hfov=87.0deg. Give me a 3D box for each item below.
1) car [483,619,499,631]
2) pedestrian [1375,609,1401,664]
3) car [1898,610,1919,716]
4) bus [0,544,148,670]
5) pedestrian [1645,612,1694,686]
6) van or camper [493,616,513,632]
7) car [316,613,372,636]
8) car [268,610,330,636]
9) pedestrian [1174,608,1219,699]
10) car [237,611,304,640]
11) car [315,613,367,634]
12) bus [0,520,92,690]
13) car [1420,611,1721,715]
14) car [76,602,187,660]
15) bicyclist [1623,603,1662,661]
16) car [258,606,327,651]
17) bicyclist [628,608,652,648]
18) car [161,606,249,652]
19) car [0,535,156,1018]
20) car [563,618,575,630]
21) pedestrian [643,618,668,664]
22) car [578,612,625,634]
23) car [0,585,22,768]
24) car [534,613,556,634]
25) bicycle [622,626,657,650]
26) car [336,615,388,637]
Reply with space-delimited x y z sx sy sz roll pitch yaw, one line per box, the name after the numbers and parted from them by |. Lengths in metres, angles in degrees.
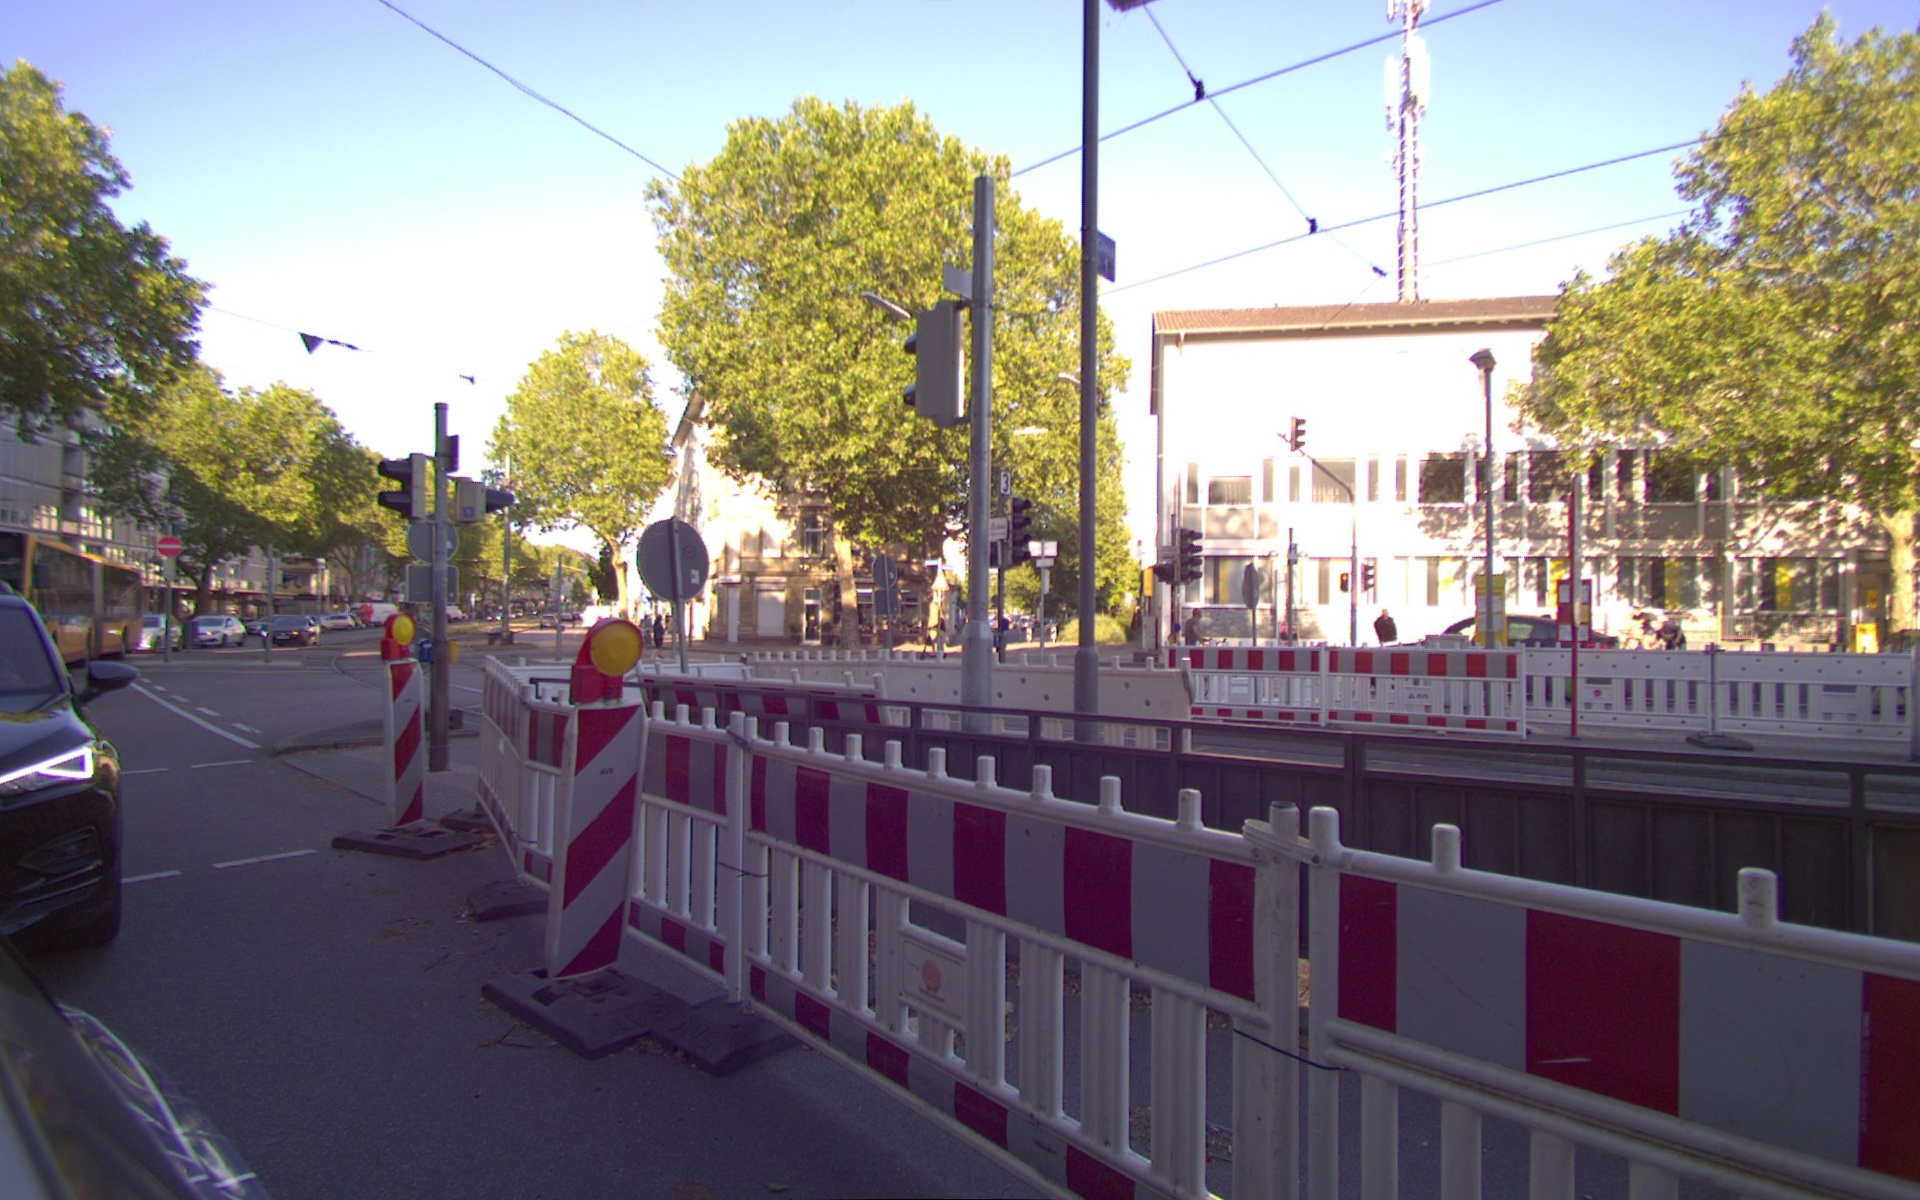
-72.285 3.855 155.903 1.809 1.715 4.143 1 -2 -19 | car
12.372 1.047 29.238 0.649 1.564 0.563 -1 -2 28 | pedestrian
17.273 0.998 15.549 3.994 1.674 1.974 -1 -2 38 | car
-25.737 0.251 28.951 2.676 3.130 8.622 1 -2 -31 | bus
18.069 1.238 25.789 0.923 1.847 0.693 -1 -2 28 | pedestrian
-79.832 4.193 176.843 2.385 2.739 6.151 1 -1 -18 | van or camper
-54.860 2.158 90.164 3.938 2.029 2.002 1 -2 -42 | car
-53.699 1.854 82.185 3.938 2.029 2.002 1 -2 -42 | car
4.665 1.036 19.974 0.545 1.760 0.693 1 -2 -24 | pedestrian
-50.643 1.881 74.437 3.932 2.029 2.006 1 -2 -32 | car
-60.070 2.260 98.209 3.938 2.029 2.002 1 -2 -42 | car
-20.805 0.149 21.648 2.678 3.130 8.641 1 -2 -36 | bus
11.120 1.066 18.597 4.552 1.674 1.974 -1 -2 38 | car
-30.578 1.143 37.516 1.965 2.029 4.111 1 -1 -21 | car
20.640 0.958 30.613 0.757 1.741 0.671 0 -2 13 | bicyclist
-31.428 1.341 47.779 1.965 2.029 4.013 1 -1 -22 | car
-16.322 1.427 51.597 0.842 2.029 0.985 1 -2 -40 | bicyclist
-34.661 1.333 46.601 1.966 2.029 4.012 1 -1 -17 | car
-5.240 0.641 4.567 3.998 1.719 1.818 -1 -2 41 | car
-61.261 3.793 158.468 1.661 1.866 4.013 1 -1 -20 | car
-10.410 1.396 34.611 0.594 1.545 0.746 1 -2 -38 | pedestrian
-34.247 2.190 96.772 1.990 2.029 3.963 0 -2 27 | car
-10.737 0.694 9.812 4.073 1.656 1.973 -1 -2 41 | car
-42.082 2.368 102.678 1.965 2.029 4.013 1 -1 -20 | car
-16.345 1.922 51.618 0.838 1.202 2.470 1 -2 -39 | bicycle
-56.590 2.437 95.842 3.938 2.029 2.002 1 -2 -42 | car
